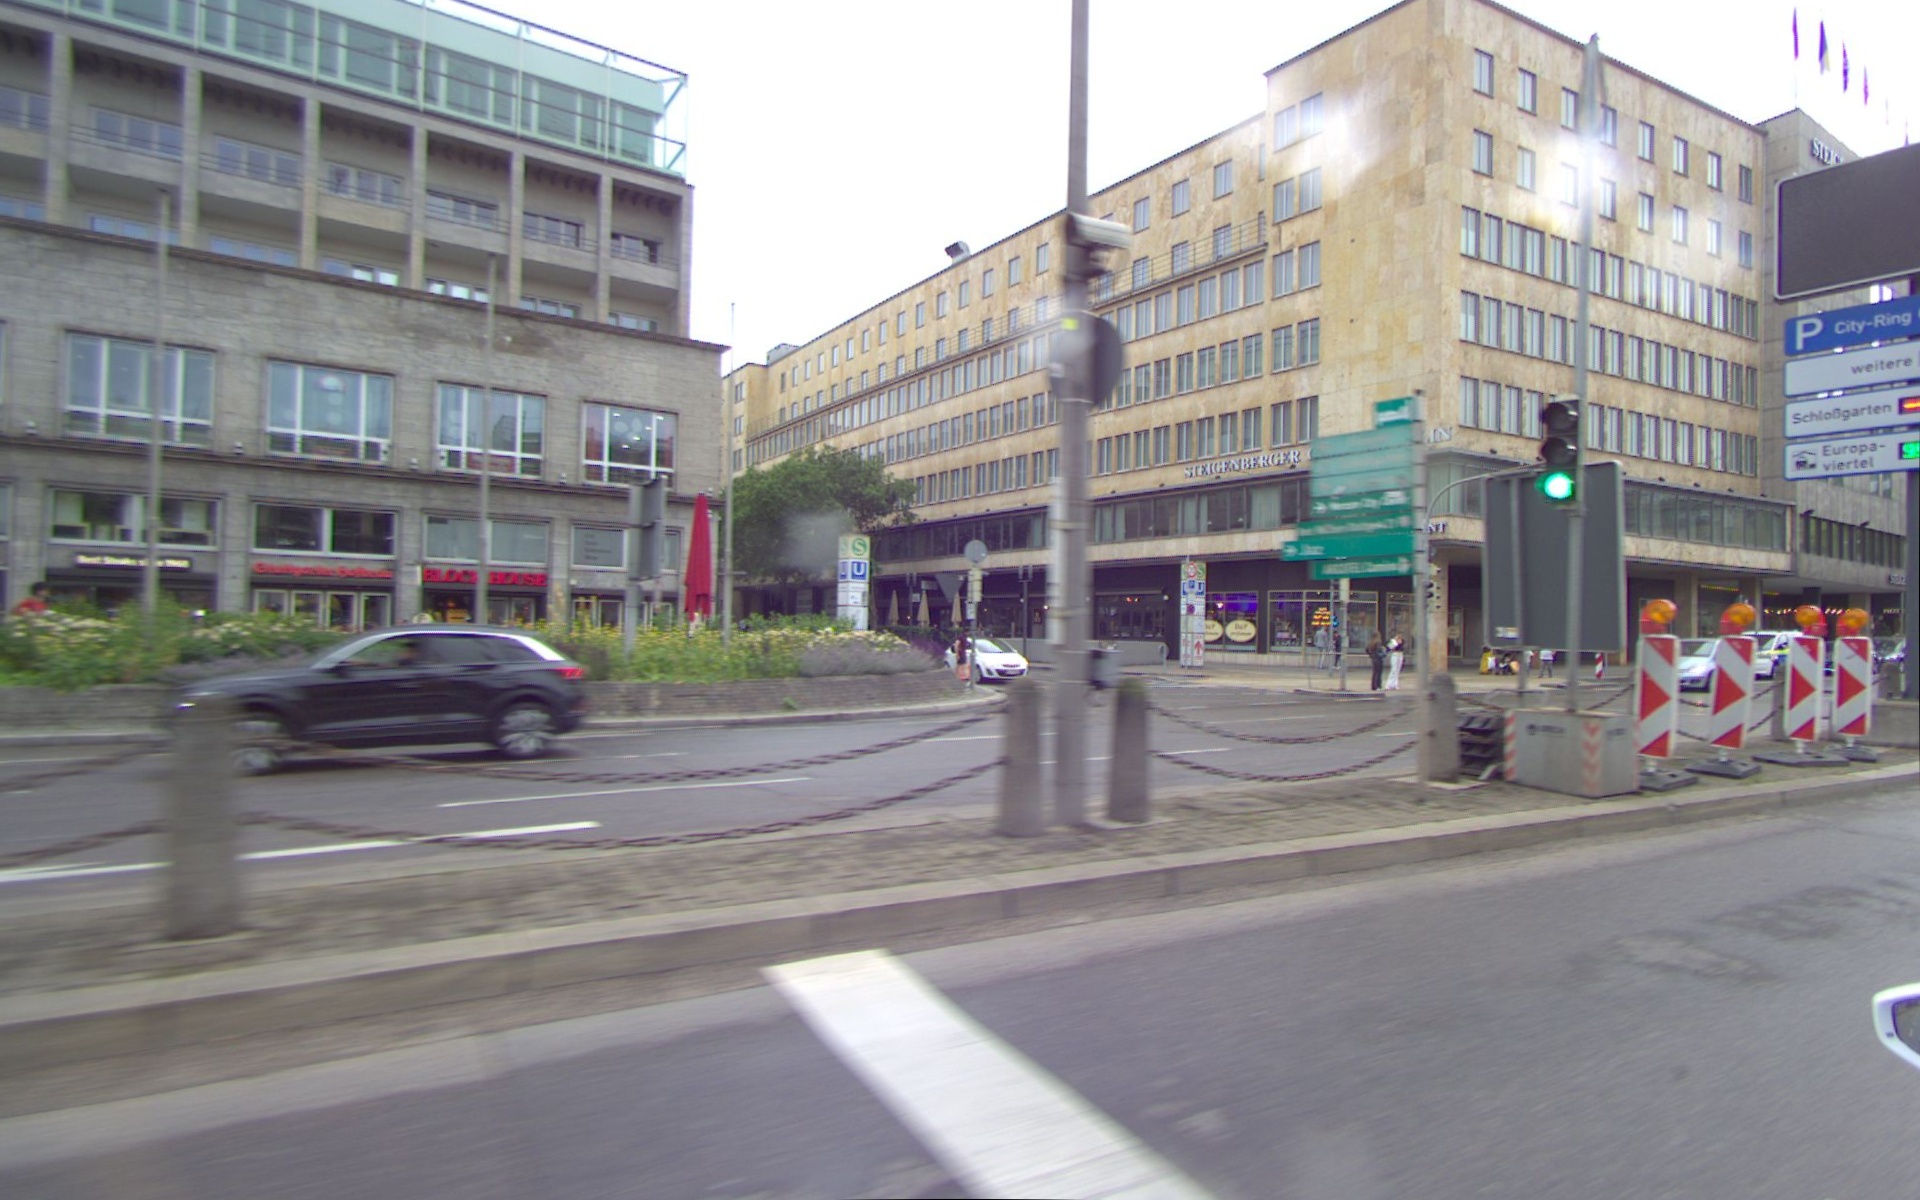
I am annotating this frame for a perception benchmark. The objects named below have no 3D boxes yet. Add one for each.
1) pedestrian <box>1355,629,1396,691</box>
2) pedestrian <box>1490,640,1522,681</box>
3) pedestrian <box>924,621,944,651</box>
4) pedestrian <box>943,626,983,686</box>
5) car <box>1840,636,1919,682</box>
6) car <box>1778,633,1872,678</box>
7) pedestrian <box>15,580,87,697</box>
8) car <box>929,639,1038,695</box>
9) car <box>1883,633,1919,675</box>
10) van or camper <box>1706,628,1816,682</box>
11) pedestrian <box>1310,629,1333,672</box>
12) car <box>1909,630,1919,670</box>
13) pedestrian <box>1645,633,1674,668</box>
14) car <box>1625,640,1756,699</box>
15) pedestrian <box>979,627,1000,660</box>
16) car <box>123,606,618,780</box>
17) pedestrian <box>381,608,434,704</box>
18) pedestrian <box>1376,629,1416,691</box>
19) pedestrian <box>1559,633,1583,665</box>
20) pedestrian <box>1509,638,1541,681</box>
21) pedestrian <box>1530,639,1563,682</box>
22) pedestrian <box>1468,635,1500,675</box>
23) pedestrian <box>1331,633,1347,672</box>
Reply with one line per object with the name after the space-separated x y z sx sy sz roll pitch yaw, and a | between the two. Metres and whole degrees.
11.580 1.652 28.018 0.692 1.694 0.833 2 -2 -18 | pedestrian
21.178 2.343 38.973 0.884 1.578 0.718 2 -2 -30 | pedestrian
-1.514 2.079 58.070 0.828 1.694 0.873 2 -2 -27 | pedestrian
0.087 1.619 29.154 0.918 1.694 0.698 2 -2 -30 | pedestrian
43.226 2.733 47.010 3.954 2.040 1.984 2 -2 -31 | car
37.912 2.436 44.034 3.954 1.862 1.984 2 -2 -31 | car
-16.267 0.687 17.996 0.784 2.040 0.663 2 -2 -31 | pedestrian
0.714 2.165 33.269 1.697 1.692 3.966 2 -2 -32 | car
48.118 2.712 50.116 4.116 2.040 1.984 2 -2 -31 | car
32.442 2.219 40.657 4.910 2.040 1.983 2 -2 -32 | van or camper
15.678 2.197 43.587 0.687 1.827 0.757 0 -2 41 | pedestrian
51.174 2.607 51.997 3.954 2.040 1.984 2 -2 -31 | car
31.494 2.269 45.235 0.905 1.546 0.791 2 -2 -29 | pedestrian
21.989 2.077 30.206 4.178 1.630 1.759 2 -2 -31 | car
1.527 2.236 51.794 0.826 1.694 0.698 2 -2 -30 | pedestrian
-6.514 0.996 11.561 4.528 1.638 1.982 2 -4 -34 | car
-10.363 1.046 18.864 0.783 1.757 0.664 2 -2 -26 | pedestrian
12.283 1.682 28.316 0.686 1.694 0.758 2 -2 -18 | pedestrian
30.328 2.414 49.855 0.708 1.546 0.791 2 -2 -29 | pedestrian
21.245 2.239 37.780 0.894 1.578 0.718 2 -2 -30 | pedestrian
21.670 2.235 37.120 0.884 1.578 0.718 2 -2 -30 | pedestrian
20.759 2.171 39.818 0.993 1.578 0.718 2 -2 -30 | pedestrian
16.442 2.252 43.563 0.637 1.665 0.697 1 -2 19 | pedestrian
